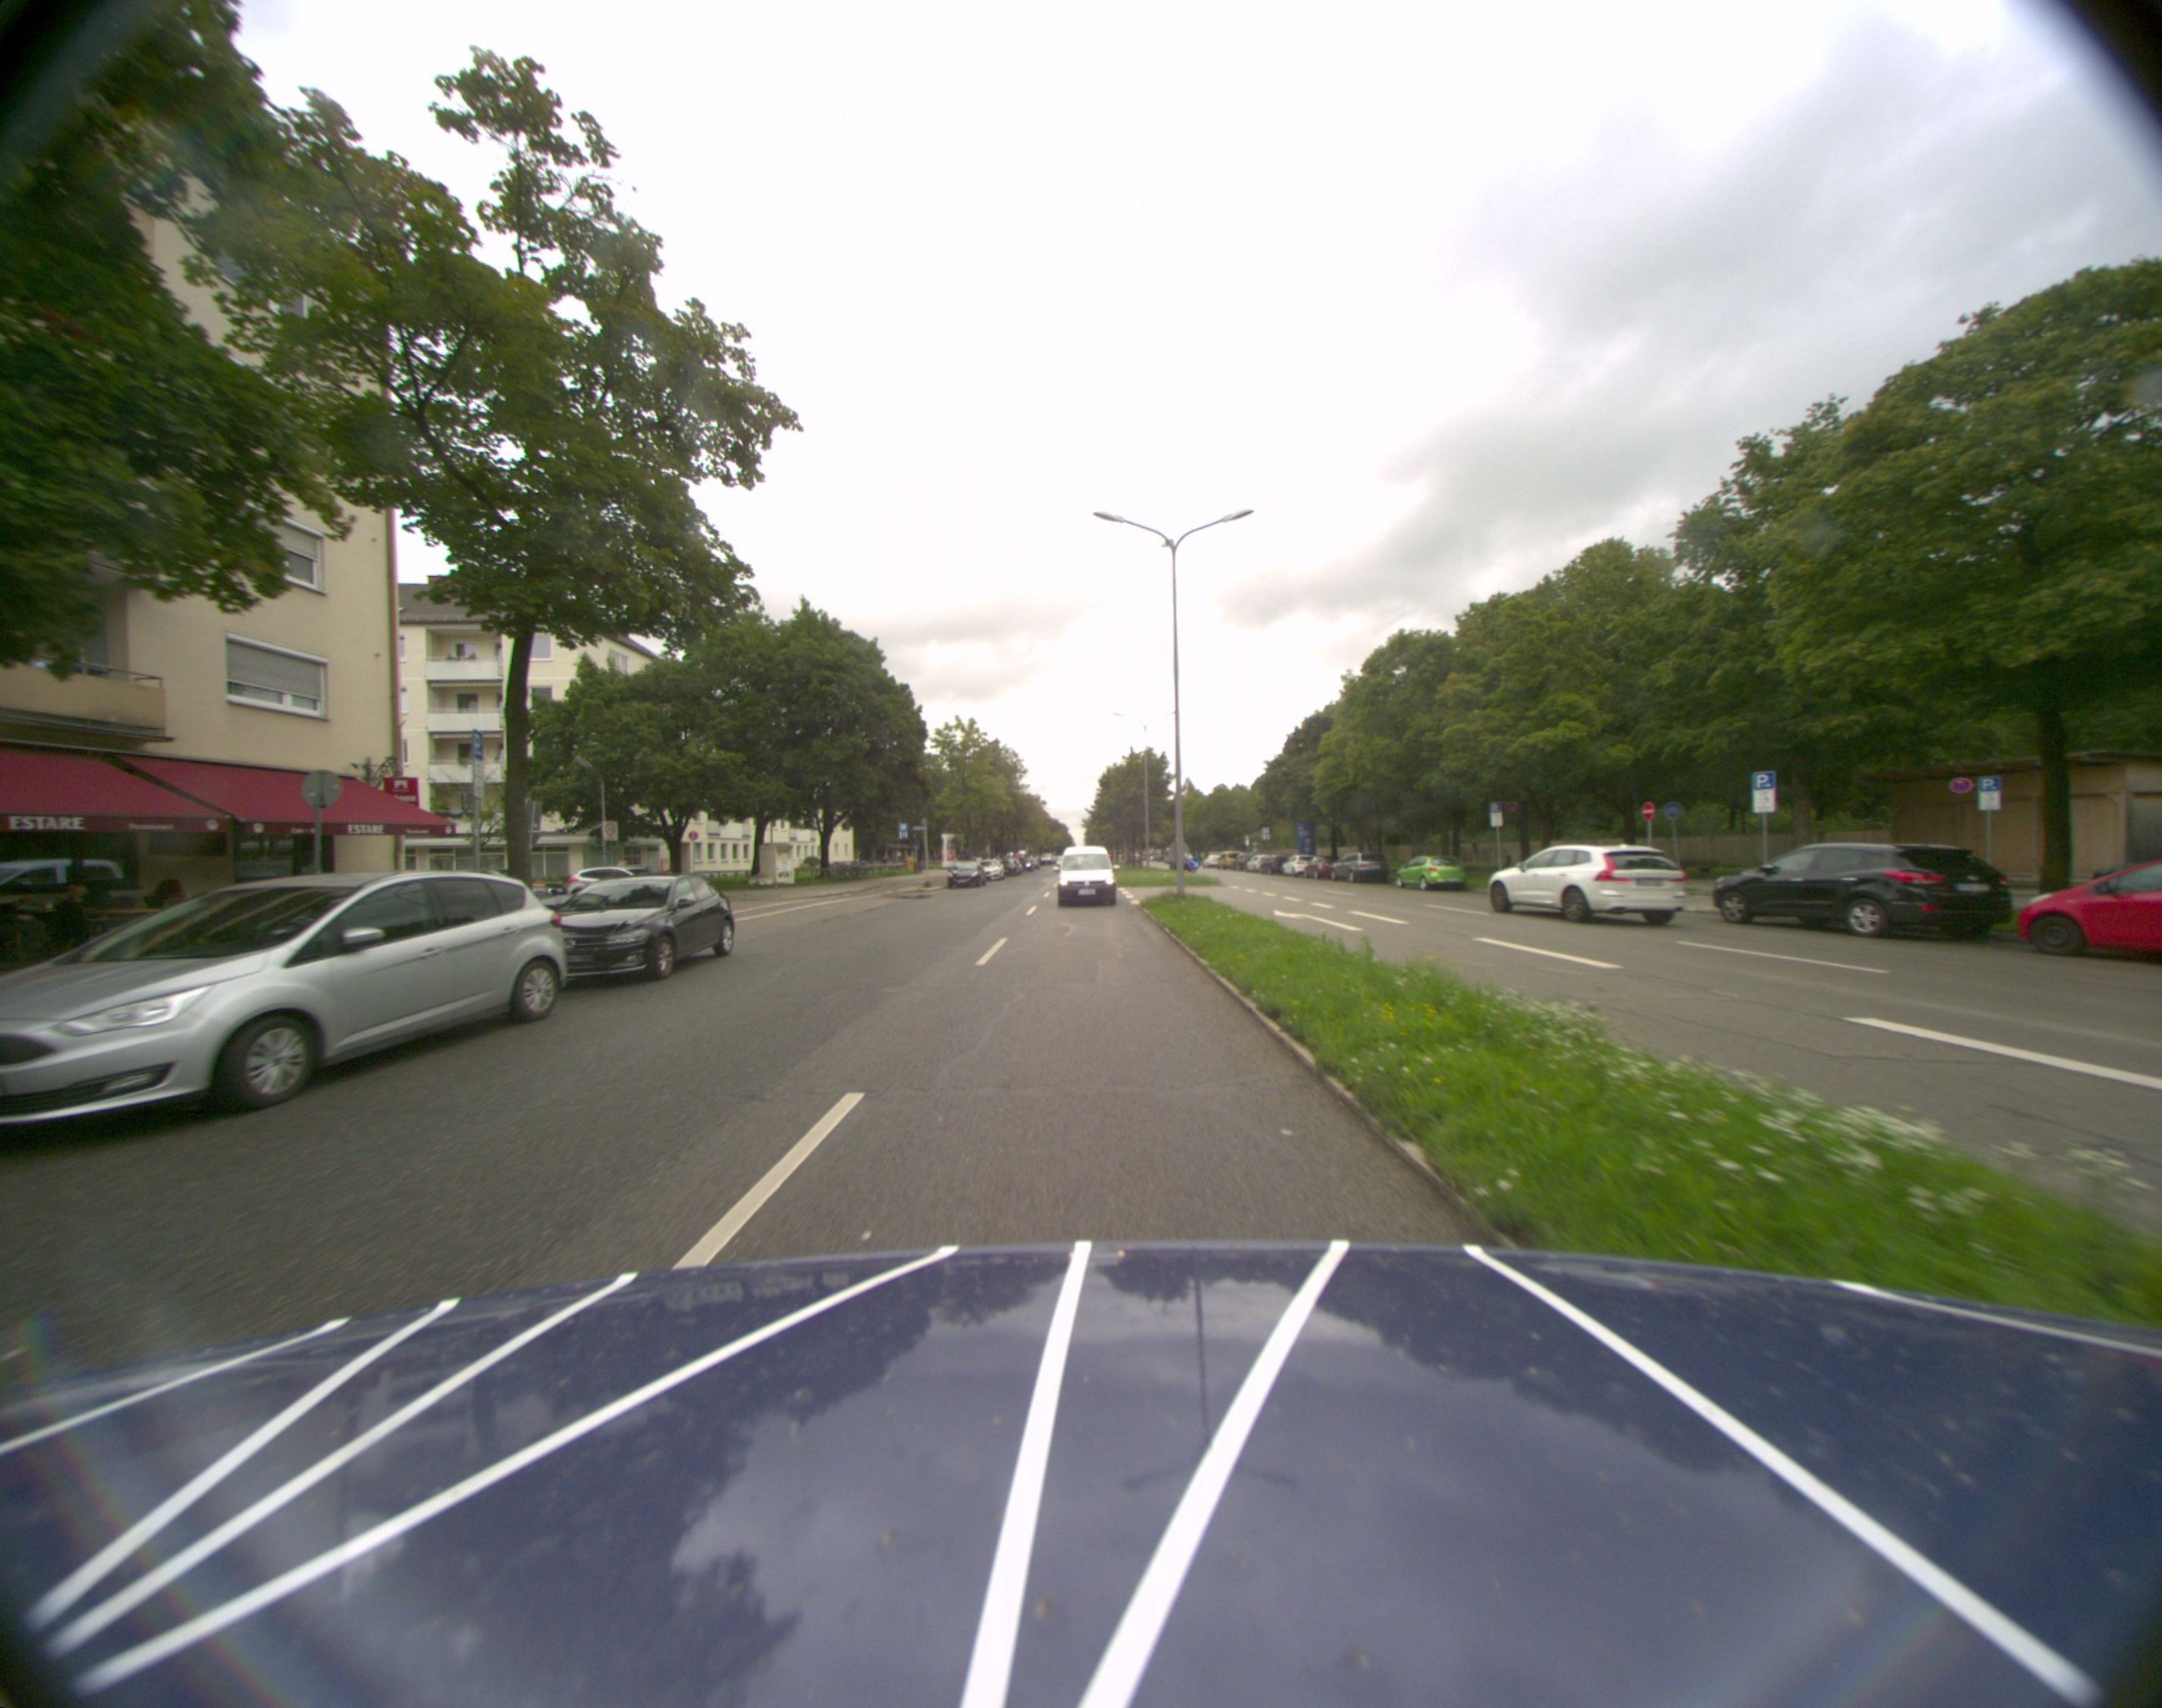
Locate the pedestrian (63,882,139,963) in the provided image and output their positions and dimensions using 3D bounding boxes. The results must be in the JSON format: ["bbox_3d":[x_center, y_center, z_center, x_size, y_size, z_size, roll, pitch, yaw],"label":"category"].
[{"bbox_3d":[-15.815,1.096,12.270,0.539,1.261,0.487,-1,1,-1],"label":"pedestrian"}]

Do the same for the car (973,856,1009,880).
[{"bbox_3d":[-6.107,0.944,52.178,1.826,1.428,4.287,-3,0,1],"label":"car"}]

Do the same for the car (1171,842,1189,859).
[{"bbox_3d":[15.493,-0.546,118.888,1.999,2.576,4.499,0,0,-2],"label":"car"}]

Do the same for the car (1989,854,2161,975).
[{"bbox_3d":[14.761,0.798,9.671,1.826,1.471,3.808,-1,1,-1],"label":"car"}]

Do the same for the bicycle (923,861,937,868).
[{"bbox_3d":[-15.767,1.126,79.299,1.392,0.709,0.498,1,1,-4],"label":"bicycle"}]

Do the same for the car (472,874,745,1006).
[{"bbox_3d":[-6.696,1.115,11.354,1.834,1.464,3.886,-1,0,-4],"label":"car"}]

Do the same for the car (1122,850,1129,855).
[{"bbox_3d":[13.628,-0.326,230.555,1.866,1.447,4.500,1,0,0],"label":"car"}]

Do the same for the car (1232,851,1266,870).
[{"bbox_3d":[15.081,0.550,68.482,2.007,1.607,4.040,0,0,-2],"label":"car"}]

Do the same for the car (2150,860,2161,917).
[{"bbox_3d":[28.237,0.850,17.457,3.849,1.401,1.863,-1,1,31],"label":"car"}]

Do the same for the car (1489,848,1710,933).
[{"bbox_3d":[11.074,0.691,16.698,1.855,1.591,4.402,1,0,1],"label":"car"}]

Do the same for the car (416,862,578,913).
[{"bbox_3d":[-19.212,1.074,25.135,3.935,1.511,1.730,-1,1,-1],"label":"car"}]

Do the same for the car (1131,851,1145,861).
[{"bbox_3d":[9.109,0.324,121.763,1.826,1.580,4.501,-1,0,1],"label":"car"}]

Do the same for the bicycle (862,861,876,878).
[{"bbox_3d":[-13.627,0.982,48.813,0.470,1.049,1.767,1,1,-4],"label":"bicycle"}]

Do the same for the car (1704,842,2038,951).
[{"bbox_3d":[14.404,0.647,14.304,1.826,1.690,4.238,-1,1,-1],"label":"car"}]

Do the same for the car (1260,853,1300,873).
[{"bbox_3d":[14.845,0.651,56.886,1.826,1.438,3.787,1,0,-2],"label":"car"}]

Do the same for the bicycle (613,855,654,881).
[{"bbox_3d":[-20.978,0.647,35.672,1.473,1.149,0.699,-1,1,-2],"label":"bicycle"}]

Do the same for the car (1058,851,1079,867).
[{"bbox_3d":[-1.298,0.533,80.367,1.984,1.591,4.402,1,0,1],"label":"car"}]

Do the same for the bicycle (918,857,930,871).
[{"bbox_3d":[-13.452,0.860,65.059,0.545,1.182,2.076,-1,0,1],"label":"bicycle"}]

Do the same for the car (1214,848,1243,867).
[{"bbox_3d":[14.522,0.324,74.955,1.862,1.761,4.533,0,0,-2],"label":"car"}]

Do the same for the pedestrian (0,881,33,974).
[{"bbox_3d":[-15.929,1.079,11.051,0.539,1.331,0.552,-1,1,-1],"label":"pedestrian"}]

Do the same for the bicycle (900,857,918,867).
[{"bbox_3d":[-16.310,0.782,72.203,1.599,0.910,0.498,-1,1,-4],"label":"bicycle"}]

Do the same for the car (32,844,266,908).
[{"bbox_3d":[-30.202,0.681,24.755,4.997,1.874,2.000,-1,1,-1],"label":"car"}]

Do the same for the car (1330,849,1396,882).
[{"bbox_3d":[14.861,0.575,40.291,1.826,1.621,4.456,0,0,0],"label":"car"}]

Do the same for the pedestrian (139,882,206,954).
[{"bbox_3d":[-15.843,1.105,13.257,0.539,1.207,0.487,-1,1,0],"label":"pedestrian"}]

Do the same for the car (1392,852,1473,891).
[{"bbox_3d":[14.684,0.687,31.963,1.644,1.490,4.000,1,0,1],"label":"car"}]

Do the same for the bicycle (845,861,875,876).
[{"bbox_3d":[-16.509,1.077,56.746,2.032,1.061,0.663,-1,1,-4],"label":"bicycle"}]

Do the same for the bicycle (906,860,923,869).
[{"bbox_3d":[-16.295,1.055,74.525,1.599,0.910,0.498,0,1,-4],"label":"bicycle"}]

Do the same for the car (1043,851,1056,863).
[{"bbox_3d":[-5.399,0.459,130.644,1.827,1.939,4.300,-2,0,1],"label":"car"}]

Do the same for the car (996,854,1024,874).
[{"bbox_3d":[-5.798,0.822,62.153,1.826,1.502,4.157,-2,0,0],"label":"car"}]

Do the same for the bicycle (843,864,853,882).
[{"bbox_3d":[-13.751,1.081,44.815,0.449,1.009,1.850,-2,0,-15],"label":"bicycle"}]

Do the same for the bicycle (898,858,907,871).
[{"bbox_3d":[-15.572,0.915,66.277,0.466,1.110,1.253,-1,1,1],"label":"bicycle"}]

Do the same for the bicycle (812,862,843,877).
[{"bbox_3d":[-18.827,1.163,56.490,2.032,1.061,0.663,-1,1,-4],"label":"bicycle"}]

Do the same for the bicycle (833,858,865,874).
[{"bbox_3d":[-16.348,0.848,53.669,2.032,1.061,0.663,-1,1,-4],"label":"bicycle"}]

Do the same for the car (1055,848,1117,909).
[{"bbox_3d":[0.167,0.728,25.095,1.772,1.742,4.545,-3,0,0],"label":"car"}]

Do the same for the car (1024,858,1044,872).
[{"bbox_3d":[-4.836,1.132,78.417,1.827,1.371,4.300,-2,0,-1],"label":"car"}]

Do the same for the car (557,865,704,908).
[{"bbox_3d":[-16.492,1.172,27.974,4.218,1.434,2.000,-1,1,4],"label":"car"}]

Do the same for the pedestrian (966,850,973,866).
[{"bbox_3d":[-12.608,0.457,85.821,0.560,1.745,0.656,-2,1,-19],"label":"pedestrian"}]

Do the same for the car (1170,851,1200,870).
[{"bbox_3d":[8.692,0.513,63.601,1.820,1.440,4.781,0,0,0],"label":"car"}]

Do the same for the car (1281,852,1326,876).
[{"bbox_3d":[14.979,0.631,51.339,1.826,1.468,4.259,1,0,1],"label":"car"}]

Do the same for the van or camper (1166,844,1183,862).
[{"bbox_3d":[15.243,-0.165,123.763,1.999,2.791,4.931,0,0,-2],"label":"van or camper"}]

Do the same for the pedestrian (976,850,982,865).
[{"bbox_3d":[-11.594,0.393,86.018,0.560,1.595,0.519,-2,1,-19],"label":"pedestrian"}]

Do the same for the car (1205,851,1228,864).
[{"bbox_3d":[15.192,0.415,85.418,1.717,1.434,4.040,0,0,-2],"label":"car"}]

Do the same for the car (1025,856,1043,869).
[{"bbox_3d":[-5.676,1.038,92.956,1.827,1.460,4.300,-2,0,1],"label":"car"}]

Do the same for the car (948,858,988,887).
[{"bbox_3d":[-6.150,0.984,41.659,1.648,1.468,3.956,-2,0,-1],"label":"car"}]

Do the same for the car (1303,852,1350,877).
[{"bbox_3d":[14.847,0.627,46.144,1.654,1.414,3.687,1,0,1],"label":"car"}]

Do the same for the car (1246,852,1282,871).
[{"bbox_3d":[14.942,0.608,62.229,1.826,1.461,4.300,0,0,-2],"label":"car"}]

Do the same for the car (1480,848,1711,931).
[{"bbox_3d":[11.138,0.667,16.985,2.030,1.610,4.683,0,0,1],"label":"car"}]

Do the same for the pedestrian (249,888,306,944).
[{"bbox_3d":[-15.662,1.205,14.819,0.539,1.048,0.487,-1,1,0],"label":"pedestrian"}]

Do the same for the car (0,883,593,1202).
[{"bbox_3d":[-6.426,1.113,6.313,1.834,1.513,4.523,-1,0,-1],"label":"car"}]
